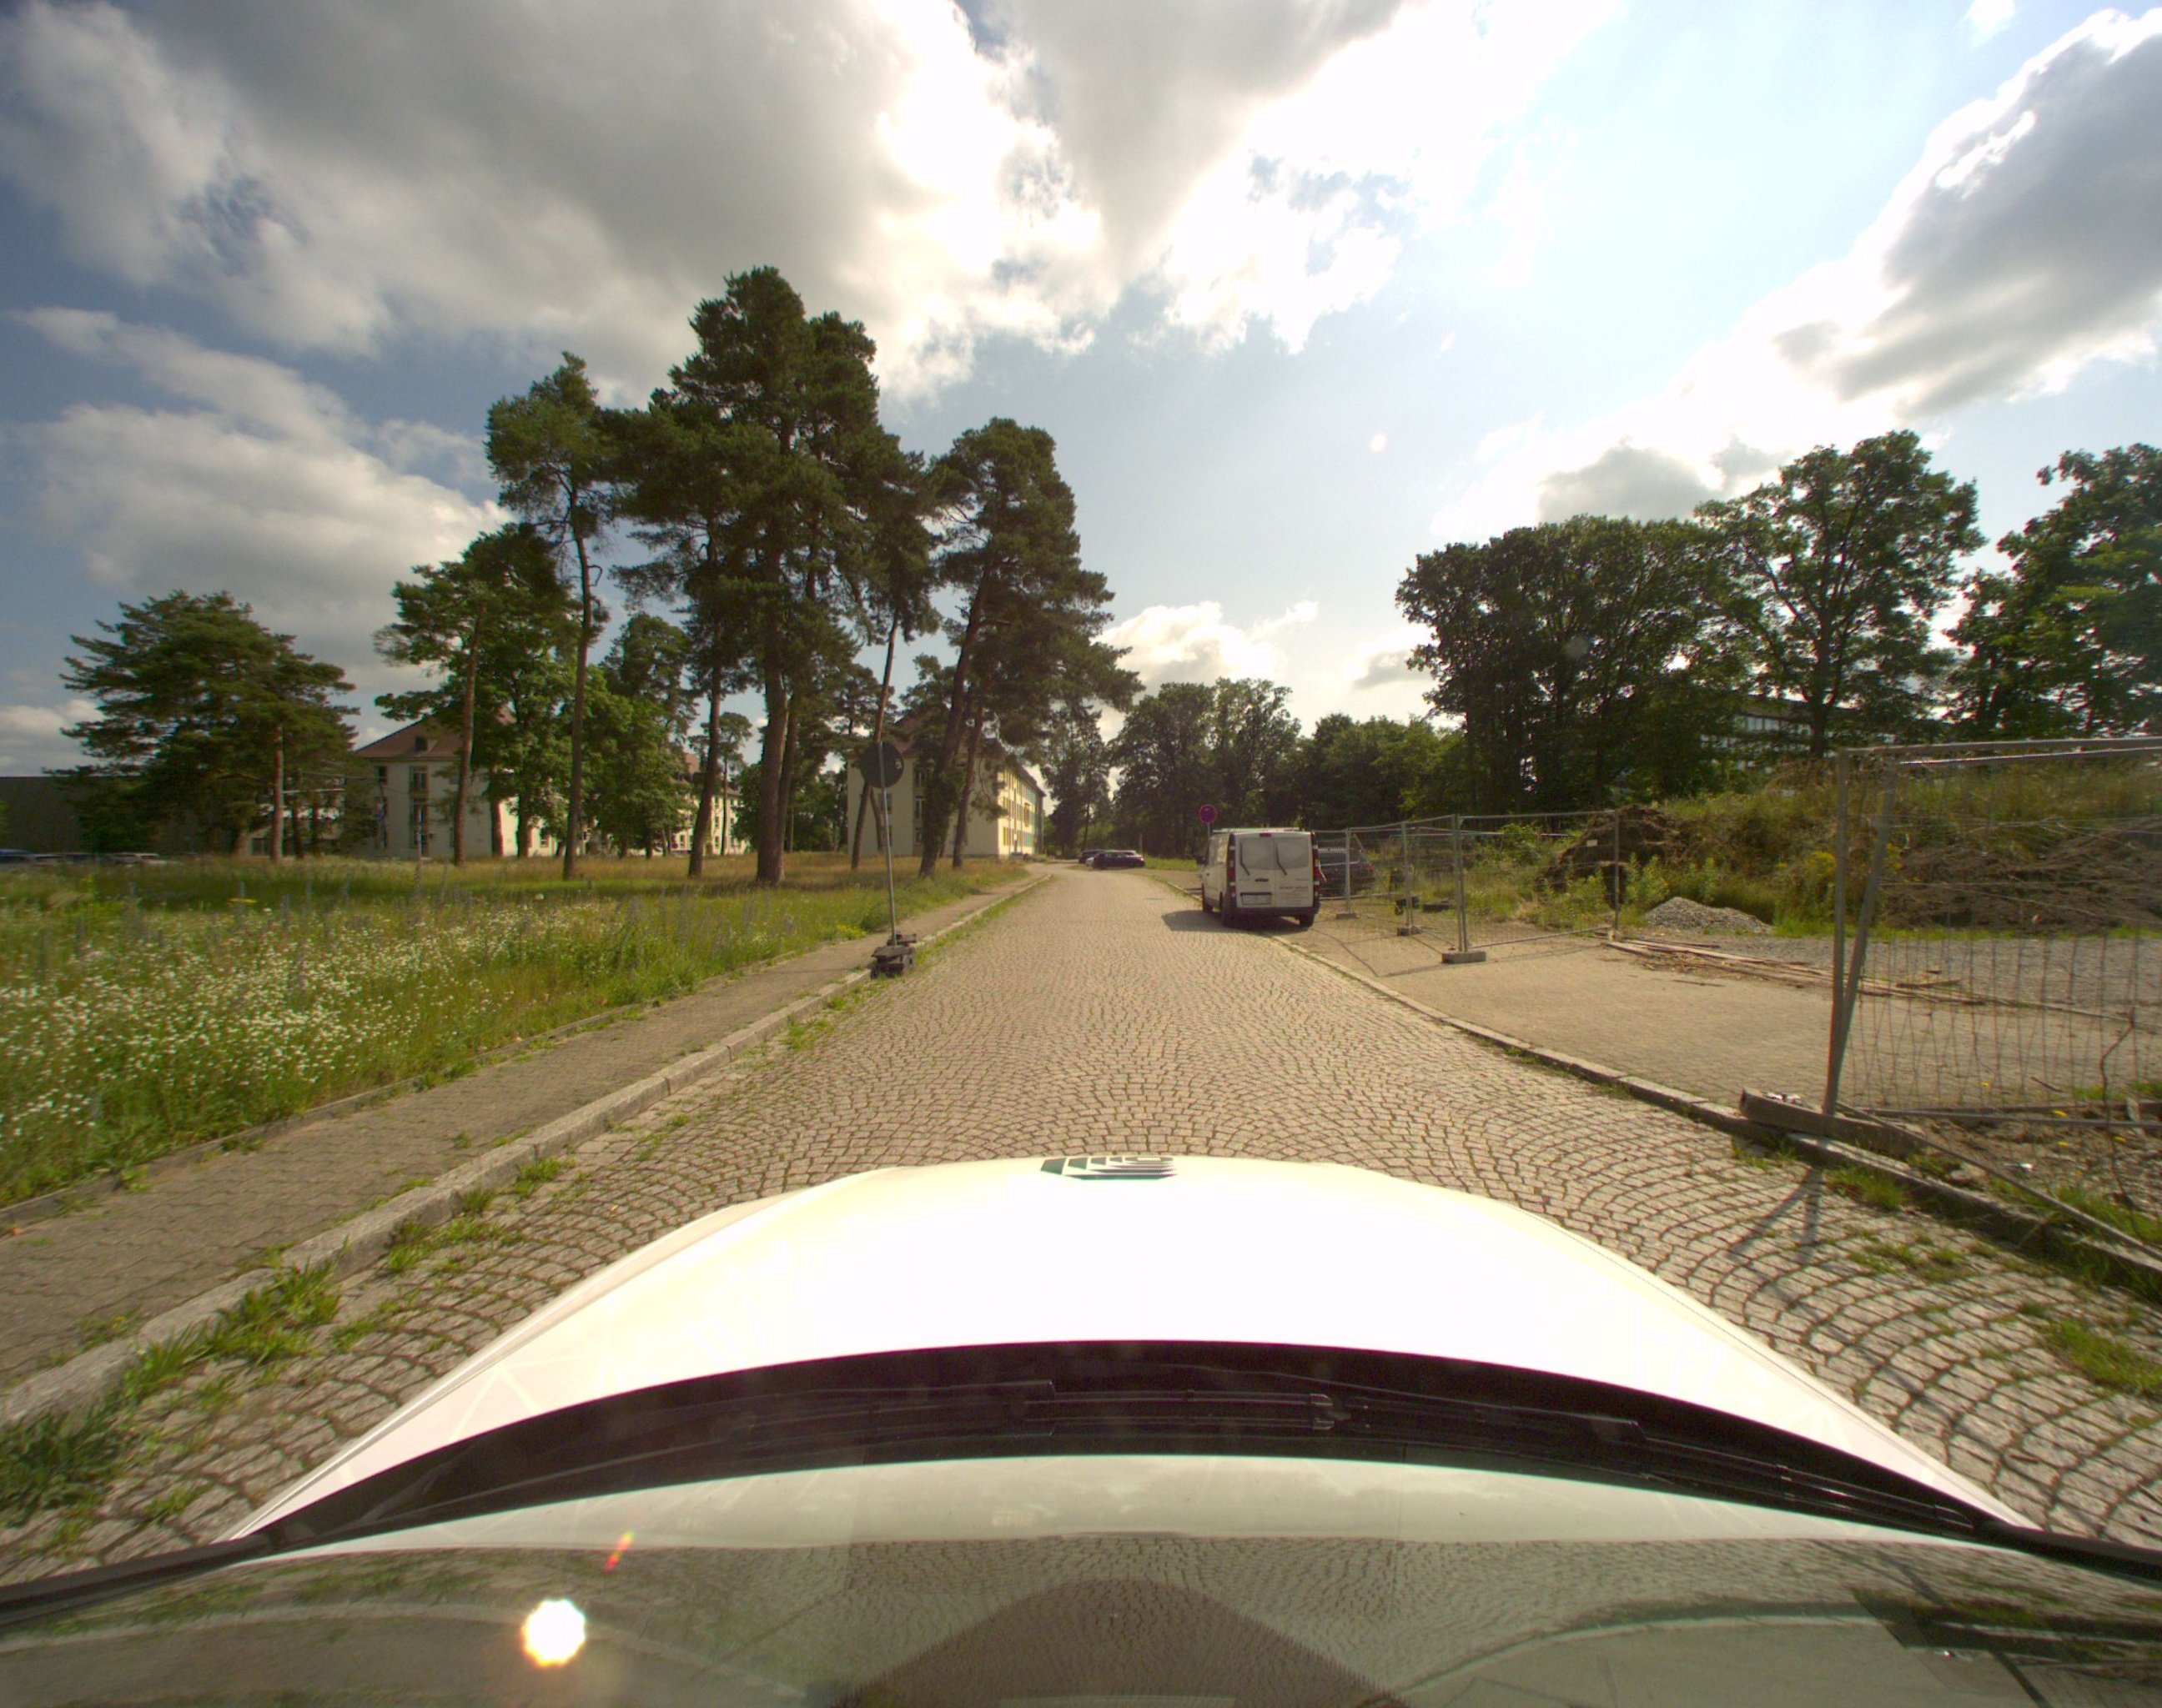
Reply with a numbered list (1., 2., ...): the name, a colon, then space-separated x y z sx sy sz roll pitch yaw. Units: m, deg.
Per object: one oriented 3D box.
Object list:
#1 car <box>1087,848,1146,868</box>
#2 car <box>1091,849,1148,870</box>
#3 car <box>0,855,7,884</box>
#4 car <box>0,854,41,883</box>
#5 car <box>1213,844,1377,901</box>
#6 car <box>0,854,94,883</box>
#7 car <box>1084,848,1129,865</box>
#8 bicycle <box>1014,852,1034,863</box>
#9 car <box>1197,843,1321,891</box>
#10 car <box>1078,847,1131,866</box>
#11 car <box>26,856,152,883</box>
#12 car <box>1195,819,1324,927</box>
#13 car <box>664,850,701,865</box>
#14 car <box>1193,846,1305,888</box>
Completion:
1. car: 2.996 0.355 69.041 4.847 1.472 1.874 -2 1 -1
2. car: 3.105 0.394 65.862 4.321 1.500 1.826 -2 1 -7
3. car: -51.539 0.748 36.563 4.053 1.339 1.900 -1 0 0
4. car: -69.674 0.930 51.991 4.053 1.780 1.900 -1 0 0
5. car: 6.375 0.529 24.570 4.444 1.475 1.743 -2 0 -4
6. car: -50.953 0.714 39.379 4.053 1.320 1.900 -1 0 0
7. car: 2.530 0.275 81.709 4.385 1.484 1.765 -2 -1 -1
8. bicycle: -6.559 0.406 93.550 2.212 1.260 0.623 -1 0 3
9. car: 6.309 0.440 29.148 3.976 1.507 1.745 -2 0 -2
10. car: 2.206 0.247 76.397 4.838 1.552 1.879 -2 -1 -1
11. car: -50.777 0.788 41.757 4.053 1.309 1.900 -1 0 0
12. car: 3.842 0.360 18.597 1.906 2.053 5.682 -1 0 2
13. car: -53.937 0.479 110.246 4.044 1.991 1.714 -1 0 1
14. car: 6.603 0.490 32.210 4.031 1.464 1.703 -2 0 -2
